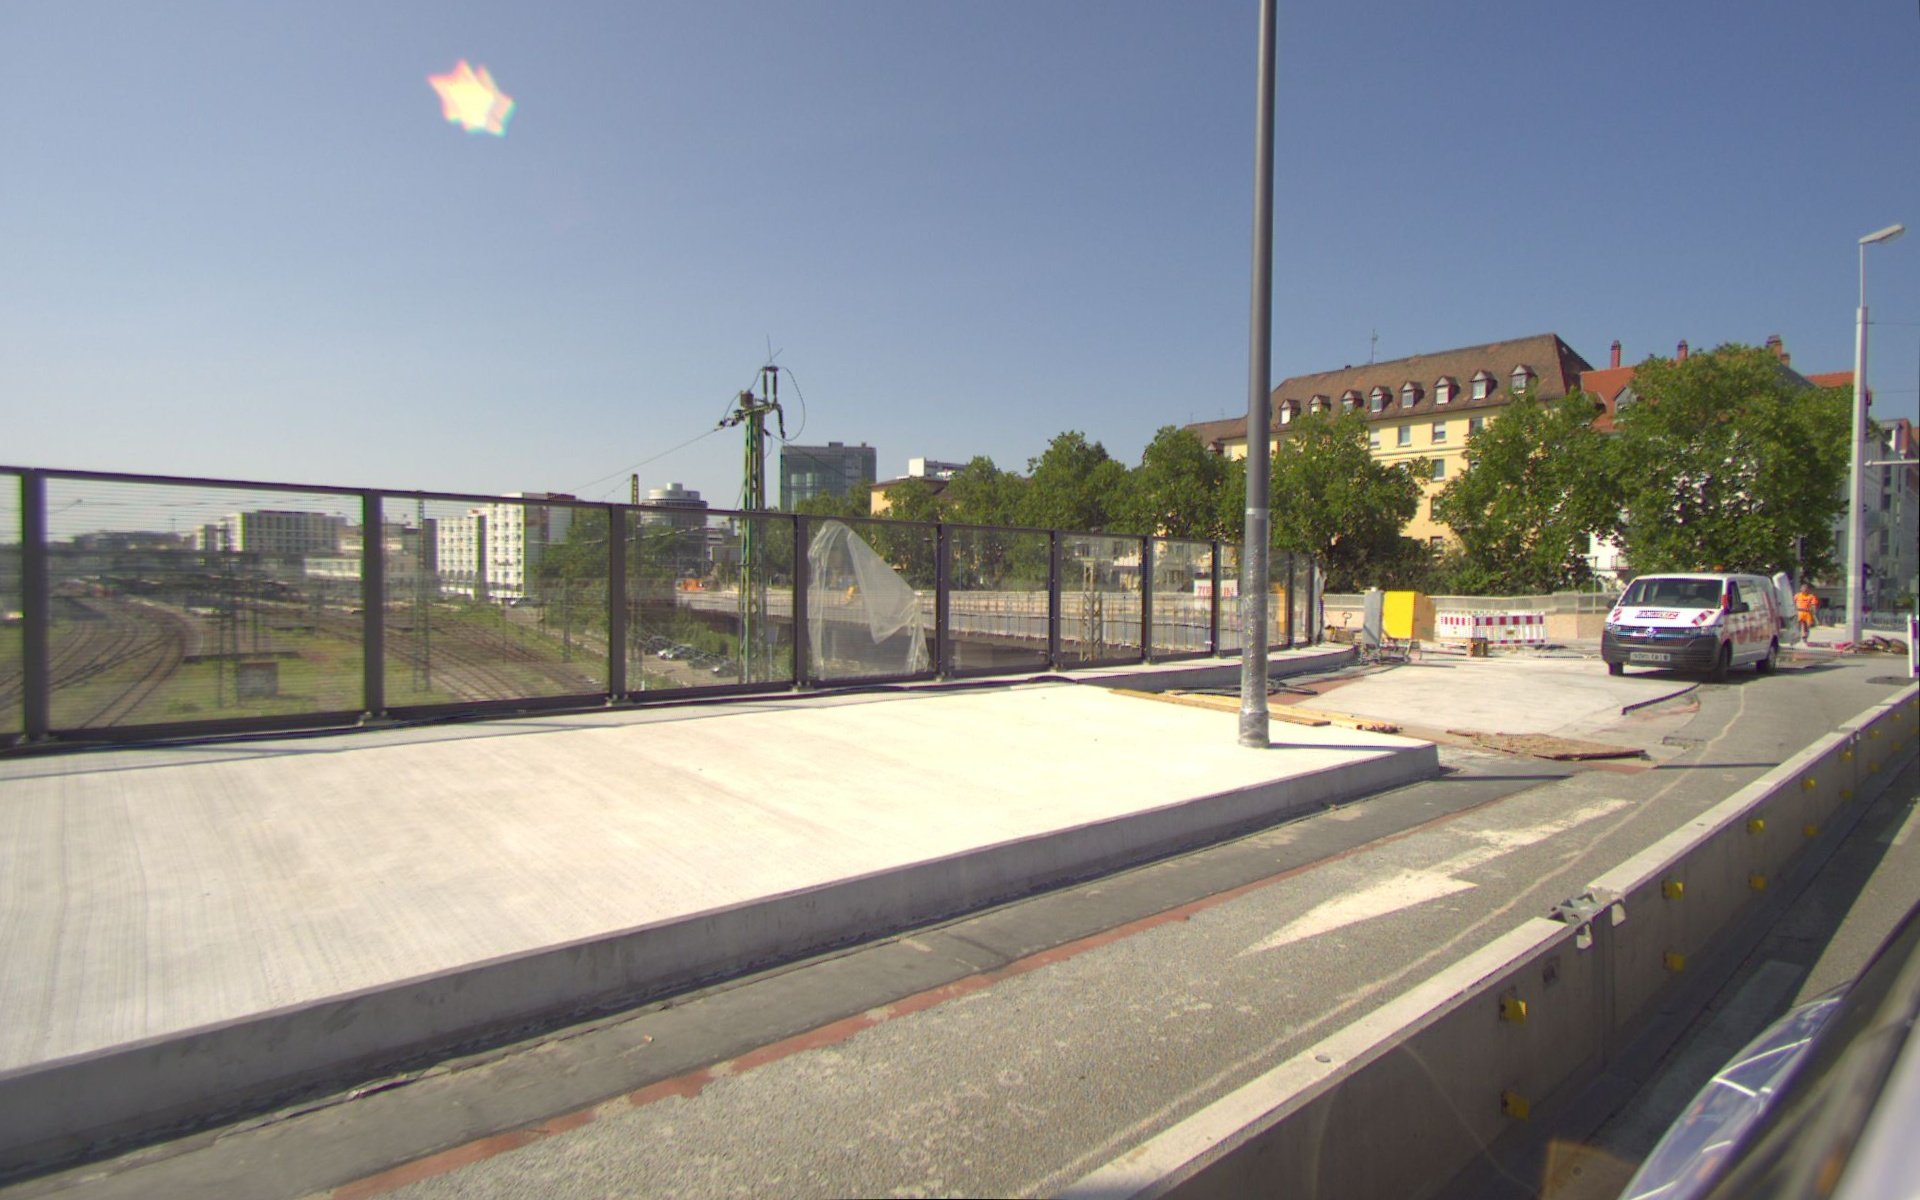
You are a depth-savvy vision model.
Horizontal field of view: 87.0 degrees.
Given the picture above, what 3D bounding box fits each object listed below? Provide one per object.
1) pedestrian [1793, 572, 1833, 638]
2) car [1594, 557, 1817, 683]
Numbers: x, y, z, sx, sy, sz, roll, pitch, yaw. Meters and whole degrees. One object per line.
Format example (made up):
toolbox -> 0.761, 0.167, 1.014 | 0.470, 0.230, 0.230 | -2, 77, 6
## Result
pedestrian -> 26.737, 0.131, 31.709 | 0.828, 2.009, 0.761 | -1, 3, -40
car -> 14.724, 0.239, 19.801 | 6.354, 2.116, 1.938 | -2, 2, -39
